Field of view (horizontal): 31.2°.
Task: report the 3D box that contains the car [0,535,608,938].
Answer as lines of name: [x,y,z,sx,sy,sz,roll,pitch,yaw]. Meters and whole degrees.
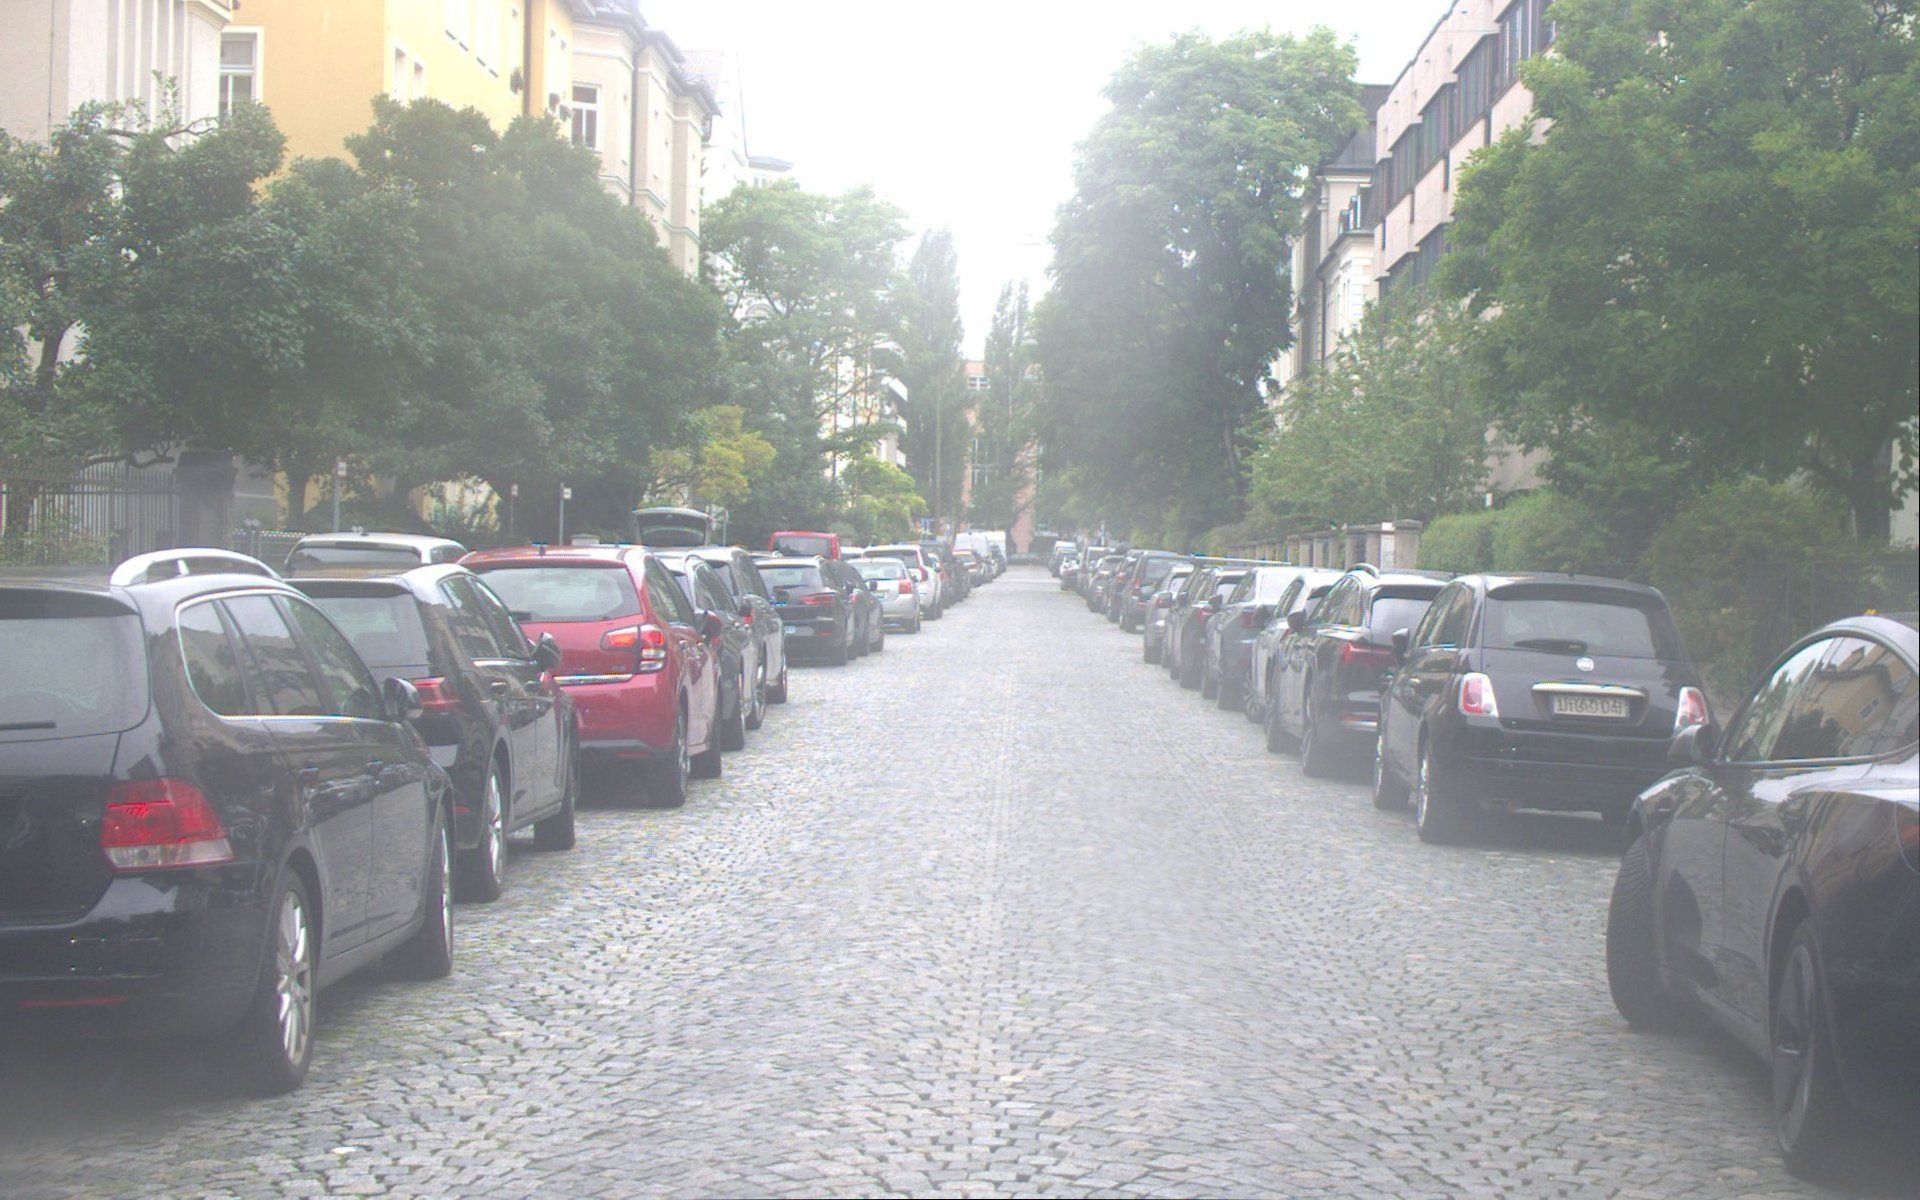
car: [-2.840,0.533,15.763,1.922,1.541,4.000,-2,0,1]

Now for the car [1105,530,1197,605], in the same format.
car: [4.460,-0.758,80.684,1.922,1.629,3.739,-2,0,0]

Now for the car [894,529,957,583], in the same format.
car: [-1.095,-1.398,110.983,1.922,1.629,3.739,-2,0,0]

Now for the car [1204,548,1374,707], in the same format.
car: [3.379,0.255,35.415,1.597,1.497,3.261,-2,0,5]

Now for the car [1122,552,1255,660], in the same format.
car: [3.325,0.076,50.539,1.660,1.460,3.448,-2,0,0]

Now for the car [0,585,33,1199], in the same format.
car: [-2.866,0.775,5.600,1.703,1.511,3.727,-1,1,0]

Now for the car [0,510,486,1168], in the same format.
car: [-2.645,0.573,10.285,1.726,1.535,4.336,-2,0,1]

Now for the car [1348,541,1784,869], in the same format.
car: [3.425,0.534,20.181,1.922,1.629,4.046,3,1,2]

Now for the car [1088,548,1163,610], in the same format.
car: [4.660,-0.602,97.340,1.922,1.629,3.739,-2,0,0]

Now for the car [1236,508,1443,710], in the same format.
car: [3.399,0.059,30.575,1.661,1.629,3.447,-2,0,7]

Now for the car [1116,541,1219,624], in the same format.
car: [4.363,-0.379,72.741,1.922,1.629,3.739,-2,0,0]

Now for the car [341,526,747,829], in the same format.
car: [-2.460,0.422,21.246,1.922,1.629,3.806,-2,0,1]

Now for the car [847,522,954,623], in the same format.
car: [-1.133,-0.531,66.808,1.922,1.832,3.739,-2,0,0]

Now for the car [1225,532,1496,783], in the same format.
car: [2.757,0.358,24.280,1.660,1.629,3.539,0,1,3]

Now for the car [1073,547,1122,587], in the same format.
car: [5.932,-1.424,148.273,1.922,1.629,3.739,-2,0,0]

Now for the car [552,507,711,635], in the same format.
car: [-4.411,-0.393,46.604,1.778,1.629,3.739,1,0,0]

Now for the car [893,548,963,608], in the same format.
car: [-0.907,-0.645,99.627,1.922,1.629,3.739,-2,0,0]

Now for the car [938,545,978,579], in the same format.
car: [-0.086,-1.922,174.115,1.922,1.629,3.739,-2,0,0]

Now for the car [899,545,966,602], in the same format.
car: [-0.831,-0.792,104.783,1.922,1.629,3.739,-2,0,0]

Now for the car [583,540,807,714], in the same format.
car: [-2.429,0.223,32.243,1.660,1.529,3.484,0,1,3]

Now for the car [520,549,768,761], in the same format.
car: [-2.322,0.380,25.743,1.432,1.455,2.650,-2,0,3]

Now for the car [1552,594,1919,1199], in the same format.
car: [3.003,0.783,9.697,1.922,1.429,4.801,4,1,2]

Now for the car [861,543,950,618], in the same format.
car: [-1.237,-0.454,79.791,1.922,1.629,3.739,-2,0,0]

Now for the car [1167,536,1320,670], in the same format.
car: [3.716,0.026,45.485,1.660,1.629,3.448,-2,0,0]

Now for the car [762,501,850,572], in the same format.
car: [-3.814,-1.563,85.552,1.922,1.629,3.739,-2,0,0]

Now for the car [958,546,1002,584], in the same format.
car: [0.924,-1.604,156.096,1.922,1.629,3.739,-2,0,0]

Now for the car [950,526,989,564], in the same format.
car: [0.489,-3.017,189.146,1.993,2.007,4.000,1,-1,-2]

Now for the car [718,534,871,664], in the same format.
car: [-2.176,-0.030,46.044,1.921,1.629,3.739,1,0,-2]

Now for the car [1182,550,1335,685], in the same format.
car: [3.473,0.184,40.472,1.660,1.451,3.448,-2,0,4]
